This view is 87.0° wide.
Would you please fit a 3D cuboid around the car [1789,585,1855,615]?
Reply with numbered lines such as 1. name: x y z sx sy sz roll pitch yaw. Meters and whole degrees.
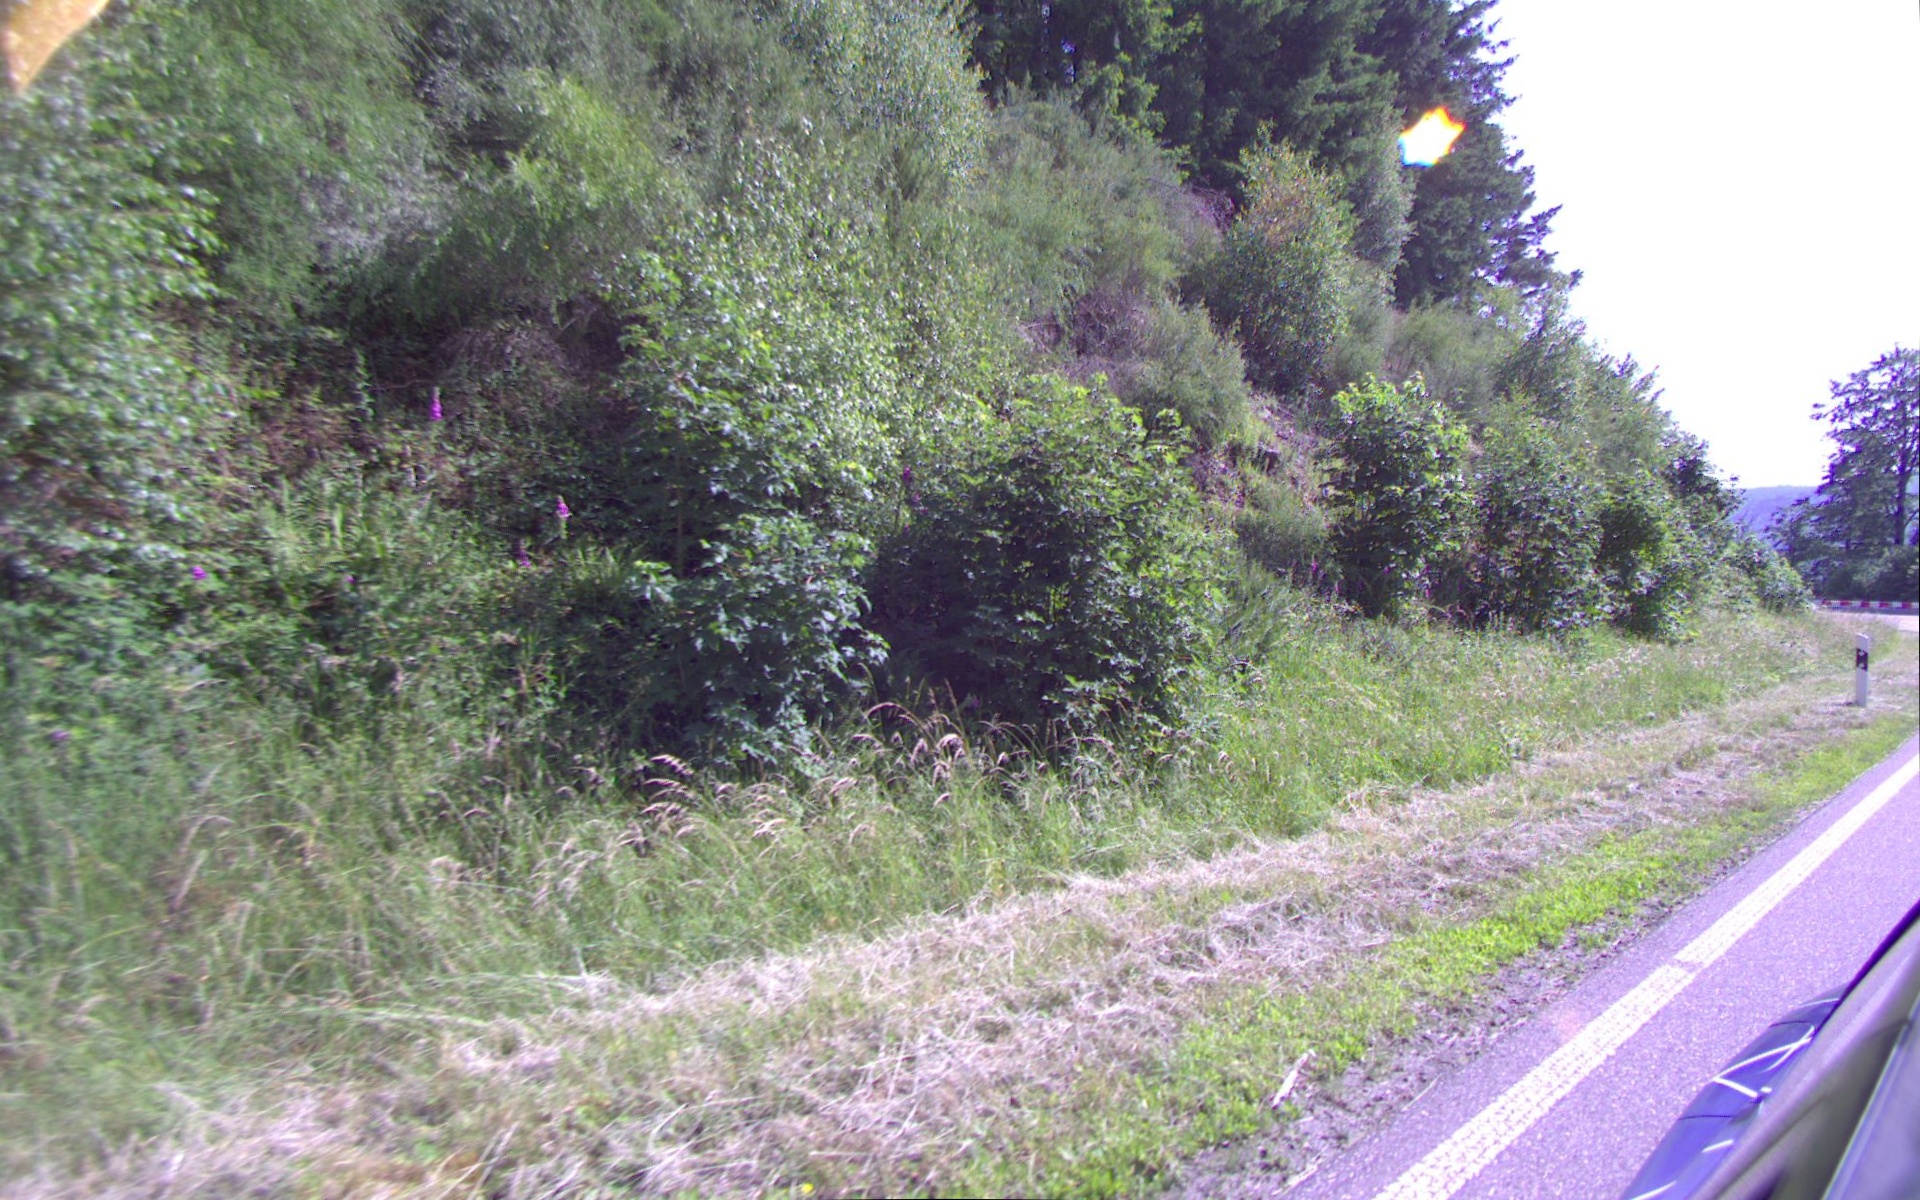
1. car: 54.235 -0.023 63.769 1.977 1.749 3.970 2 1 22
